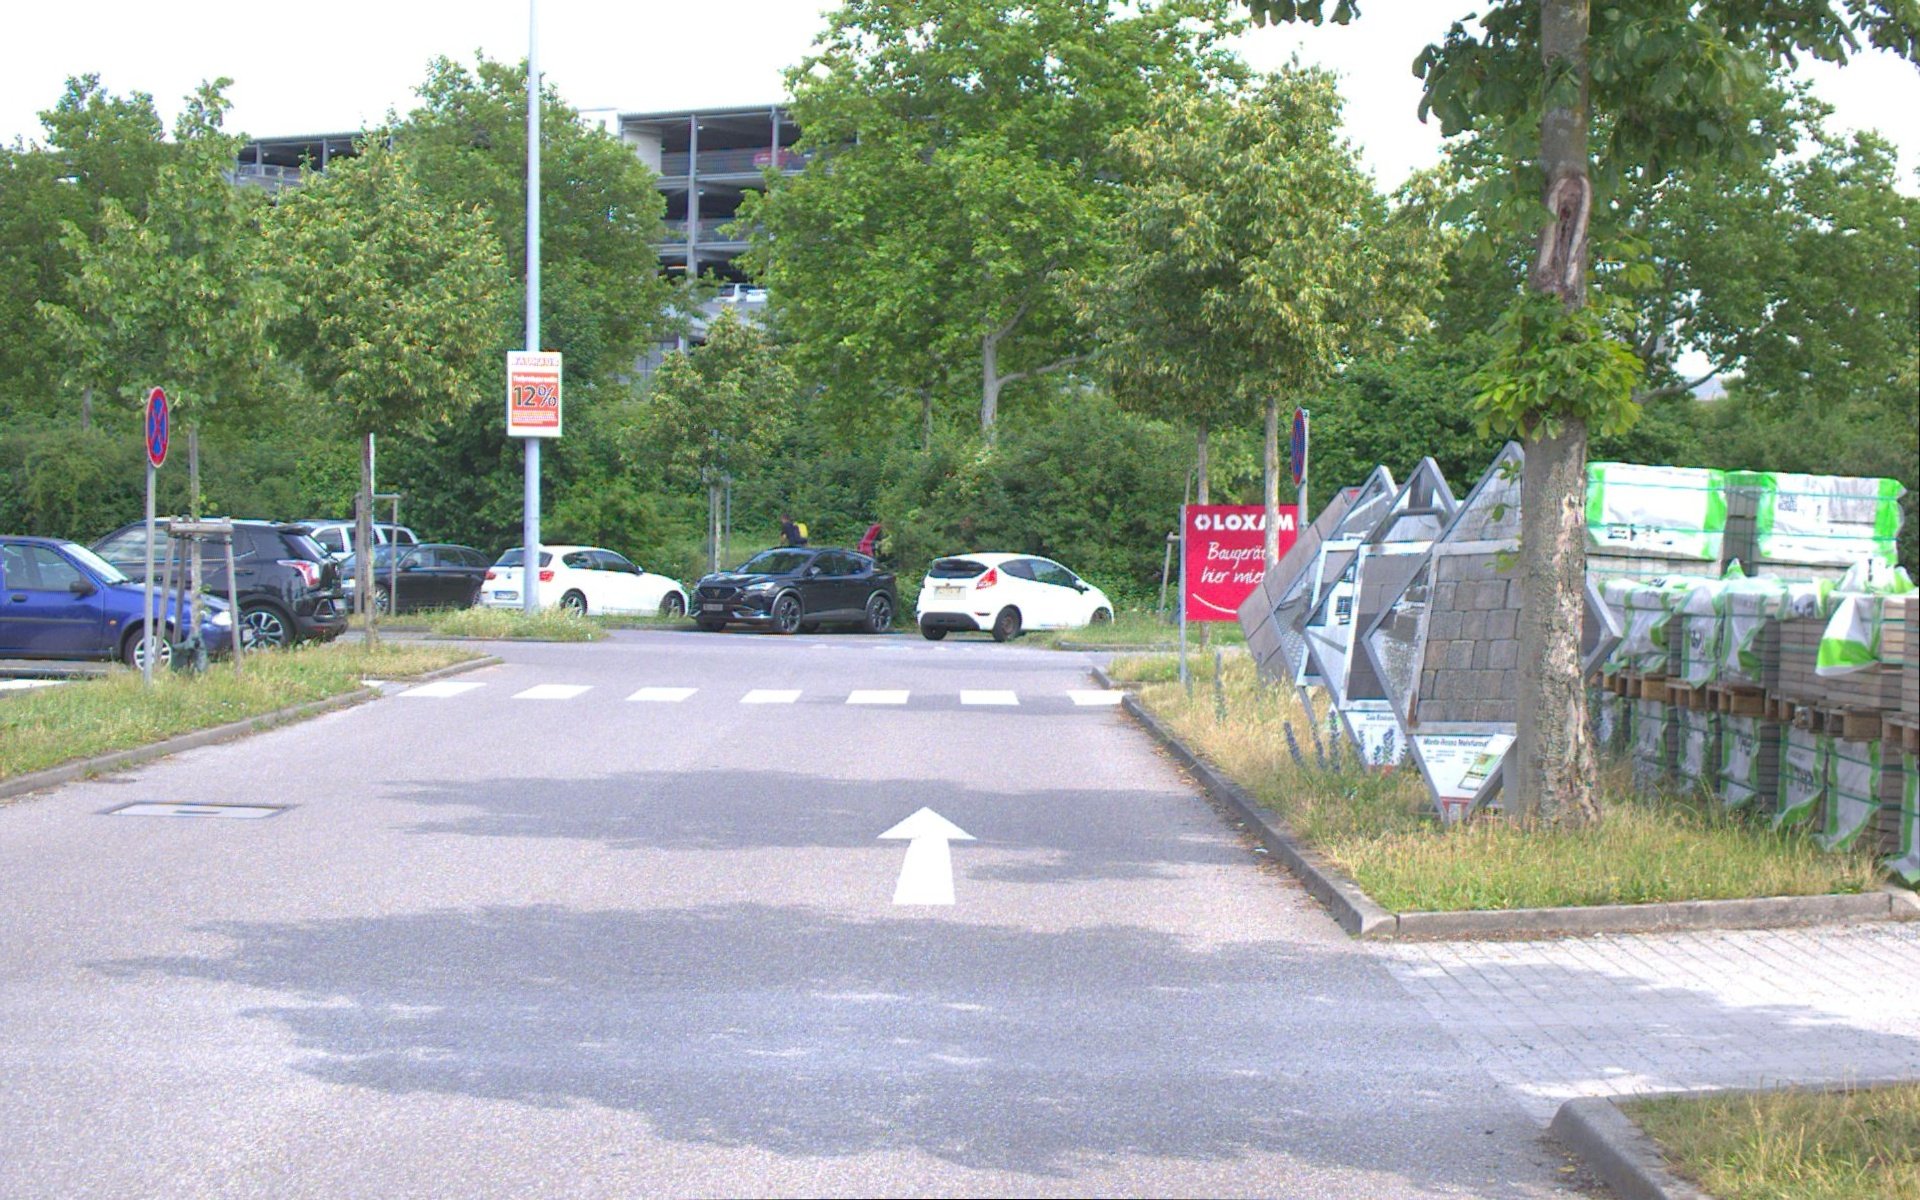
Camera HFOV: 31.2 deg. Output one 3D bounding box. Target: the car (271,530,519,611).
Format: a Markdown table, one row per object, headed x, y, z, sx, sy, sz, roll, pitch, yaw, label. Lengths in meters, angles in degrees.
| x | y | z | sx | sy | sz | roll | pitch | yaw | label |
| --- | --- | --- | --- | --- | --- | --- | --- | --- | --- |
| -10.680 | -0.561 | 65.331 | 1.837 | 1.446 | 4.715 | 2 | 1 | 36 | car |

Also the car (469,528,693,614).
| x | y | z | sx | sy | sz | roll | pitch | yaw | label |
| --- | --- | --- | --- | --- | --- | --- | --- | --- | --- |
| -6.828 | -0.518 | 62.279 | 1.688 | 1.504 | 4.073 | 1 | 1 | 37 | car |

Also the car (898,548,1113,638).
| x | y | z | sx | sy | sz | roll | pitch | yaw | label |
| --- | --- | --- | --- | --- | --- | --- | --- | --- | --- |
| 0.779 | -0.124 | 56.767 | 1.669 | 1.407 | 3.549 | 2 | 1 | 39 | car |

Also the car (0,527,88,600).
| x | y | z | sx | sy | sz | roll | pitch | yaw | label |
| --- | --- | --- | --- | --- | --- | --- | --- | --- | --- |
| -20.473 | -0.768 | 71.186 | 1.782 | 1.499 | 4.645 | 2 | 1 | 34 | car |

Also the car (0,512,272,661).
| x | y | z | sx | sy | sz | roll | pitch | yaw | label |
| --- | --- | --- | --- | --- | --- | --- | --- | --- | --- |
| -8.743 | -0.163 | 33.450 | 3.750 | 1.363 | 1.621 | 1 | 1 | 0 | car |

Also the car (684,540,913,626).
| x | y | z | sx | sy | sz | roll | pitch | yaw | label |
| --- | --- | --- | --- | --- | --- | --- | --- | --- | --- |
| -2.763 | -0.292 | 59.648 | 1.731 | 1.405 | 4.234 | 2 | 1 | 35 | car |

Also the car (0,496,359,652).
| x | y | z | sx | sy | sz | roll | pitch | yaw | label |
| --- | --- | --- | --- | --- | --- | --- | --- | --- | --- |
| -8.859 | -0.305 | 38.320 | 3.950 | 1.619 | 1.736 | 1 | 1 | 2 | car |
